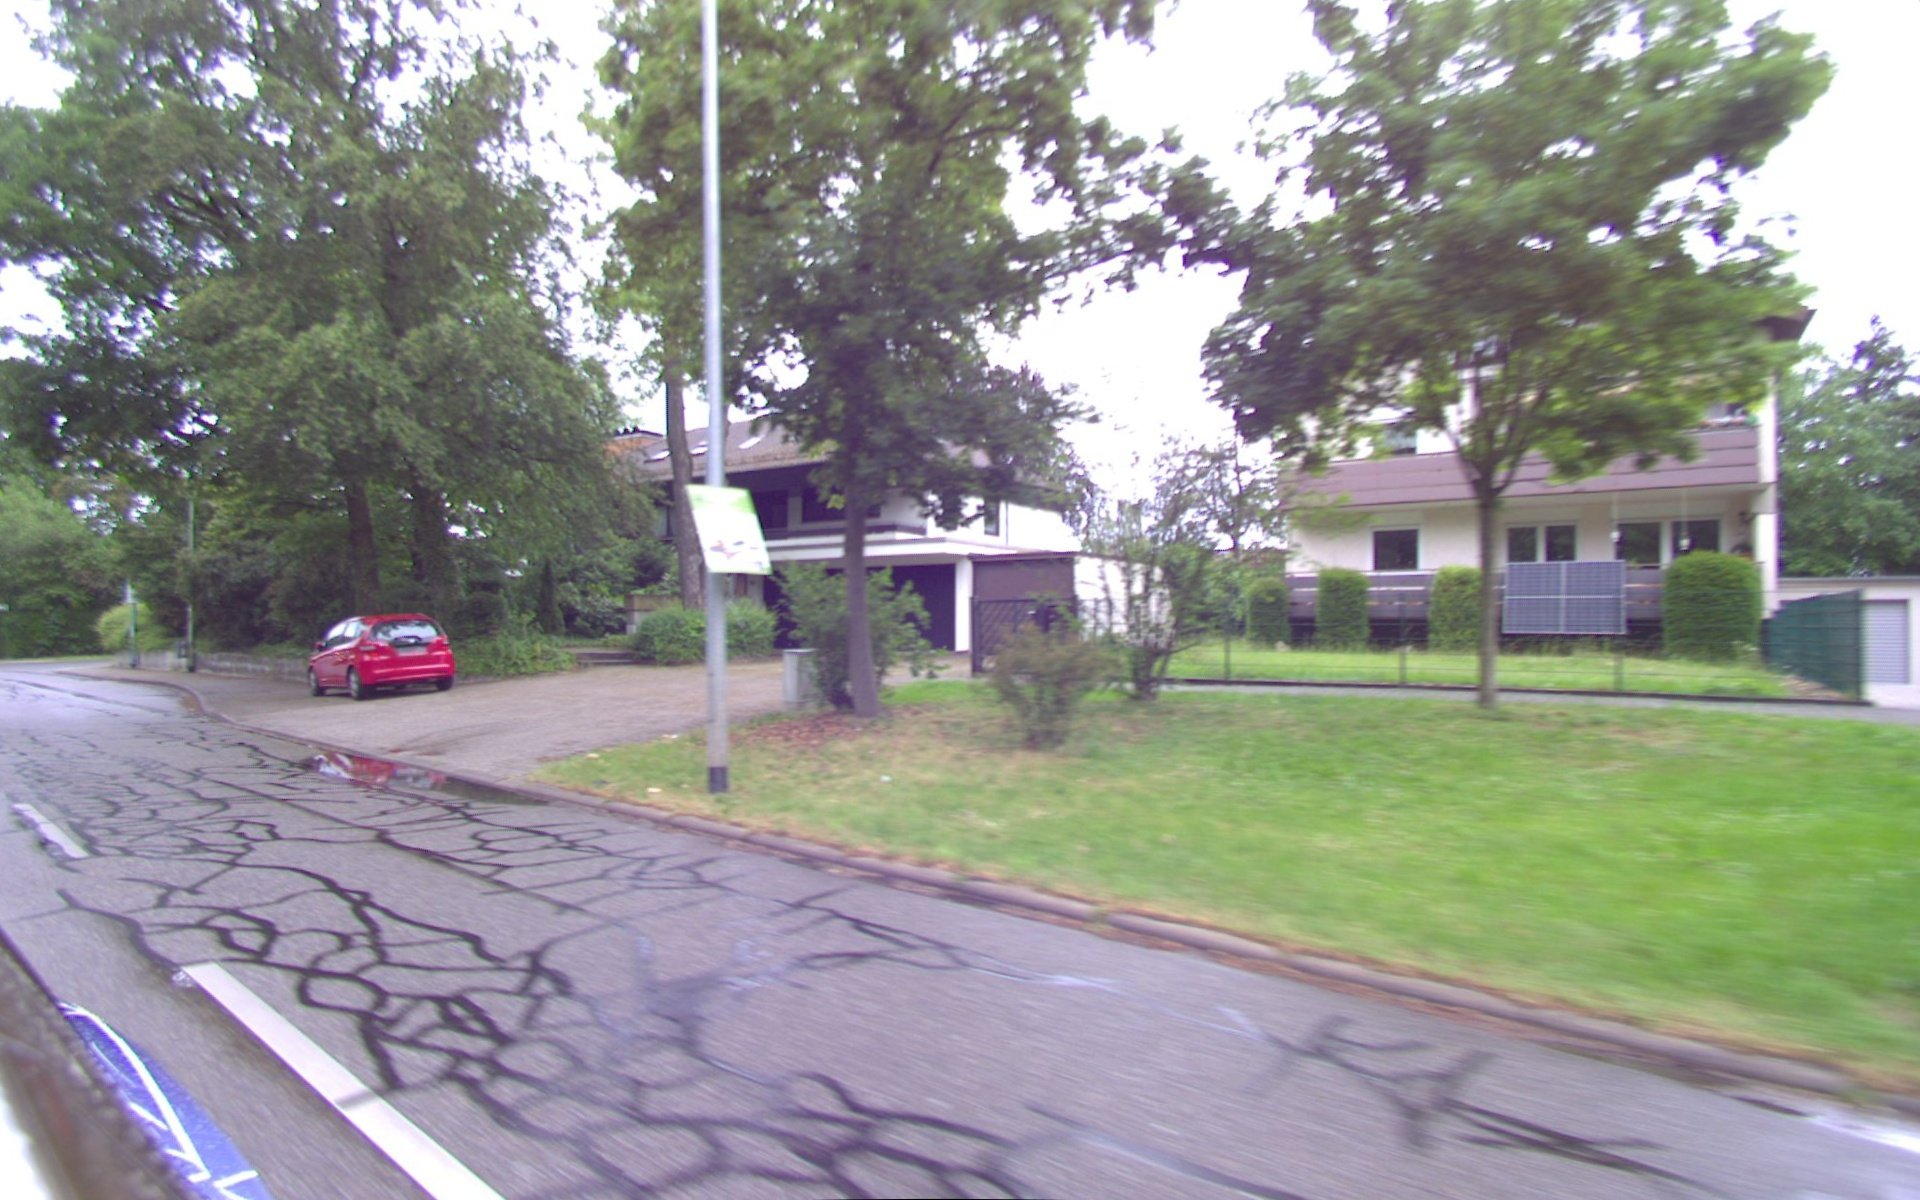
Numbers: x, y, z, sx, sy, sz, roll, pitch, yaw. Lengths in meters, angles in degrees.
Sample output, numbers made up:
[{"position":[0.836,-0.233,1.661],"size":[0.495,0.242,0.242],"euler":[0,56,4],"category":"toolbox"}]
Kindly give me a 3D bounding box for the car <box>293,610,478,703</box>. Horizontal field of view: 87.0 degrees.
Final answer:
[{"position":[-11.283,1.081,19.773],"size":[4.000,1.527,1.972],"euler":[-3,0,43],"category":"car"}]
